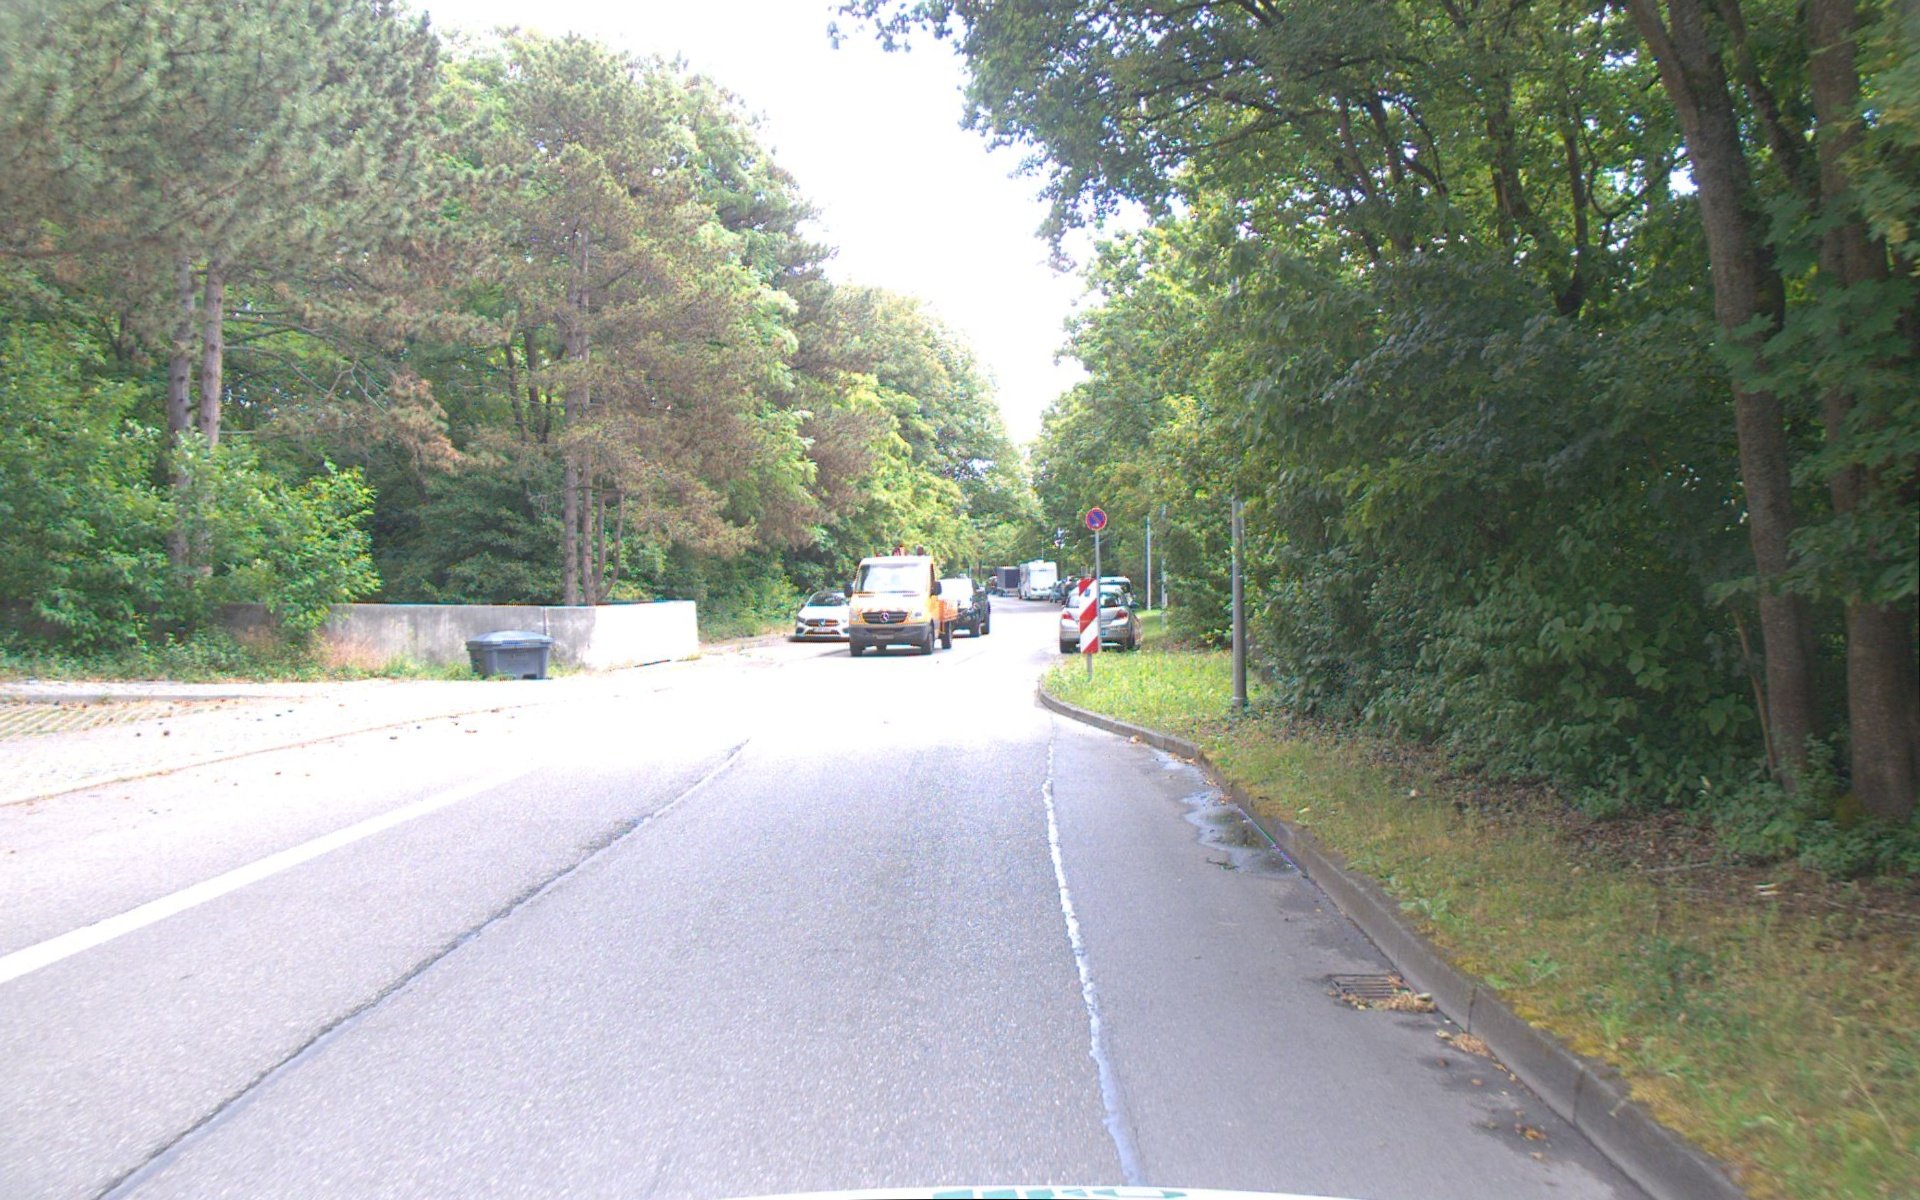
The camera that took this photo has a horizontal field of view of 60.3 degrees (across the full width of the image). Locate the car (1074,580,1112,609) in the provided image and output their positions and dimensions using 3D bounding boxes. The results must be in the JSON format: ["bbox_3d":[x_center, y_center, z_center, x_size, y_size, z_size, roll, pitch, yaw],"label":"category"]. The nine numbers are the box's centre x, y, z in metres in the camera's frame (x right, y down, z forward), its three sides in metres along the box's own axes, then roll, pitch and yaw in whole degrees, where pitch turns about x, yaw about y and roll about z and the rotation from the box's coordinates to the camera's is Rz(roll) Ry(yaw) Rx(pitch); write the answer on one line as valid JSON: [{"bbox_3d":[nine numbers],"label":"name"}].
[{"bbox_3d":[8.416,-0.331,104.688,1.756,1.699,4.498,-2,-1,-3],"label":"car"}]

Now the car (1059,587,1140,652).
[{"bbox_3d":[3.373,0.431,39.410,1.755,1.435,4.062,-2,0,7],"label":"car"}]

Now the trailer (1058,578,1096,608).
[{"bbox_3d":[7.806,-0.523,110.673,1.939,1.843,5.147,-2,1,-2],"label":"trailer"}]

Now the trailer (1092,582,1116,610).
[{"bbox_3d":[8.536,-0.235,98.317,1.252,1.612,2.461,-1,1,1],"label":"trailer"}]

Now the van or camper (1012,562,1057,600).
[{"bbox_3d":[5.825,-1.497,130.440,2.434,2.926,6.880,-1,1,-6],"label":"van or camper"}]

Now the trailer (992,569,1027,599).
[{"bbox_3d":[4.219,-1.345,141.108,1.960,2.440,3.985,-1,1,-14],"label":"trailer"}]

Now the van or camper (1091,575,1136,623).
[{"bbox_3d":[6.306,-0.011,68.227,1.764,1.870,4.323,-1,-1,5],"label":"van or camper"}]

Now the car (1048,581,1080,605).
[{"bbox_3d":[7.503,-0.508,120.044,1.764,1.589,3.832,-2,1,-4],"label":"car"}]

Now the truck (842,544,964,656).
[{"bbox_3d":[-1.290,-0.046,40.489,2.273,2.513,6.024,1,1,5],"label":"truck"}]

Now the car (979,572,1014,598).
[{"bbox_3d":[3.192,-1.339,146.511,1.961,2.060,3.985,-4,3,-15],"label":"car"}]

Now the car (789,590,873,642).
[{"bbox_3d":[-3.762,0.438,48.862,1.767,1.427,4.374,1,1,5],"label":"car"}]

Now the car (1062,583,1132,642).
[{"bbox_3d":[3.907,0.301,46.842,1.846,1.533,5.179,-1,0,5],"label":"car"}]

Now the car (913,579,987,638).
[{"bbox_3d":[-0.263,0.234,53.183,1.951,1.766,5.340,-1,0,4],"label":"car"}]

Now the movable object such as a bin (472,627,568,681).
[{"bbox_3d":[-6.607,0.810,24.802,1.133,0.773,1.038,2,-1,-32],"label":"movable object such as a bin"}]
